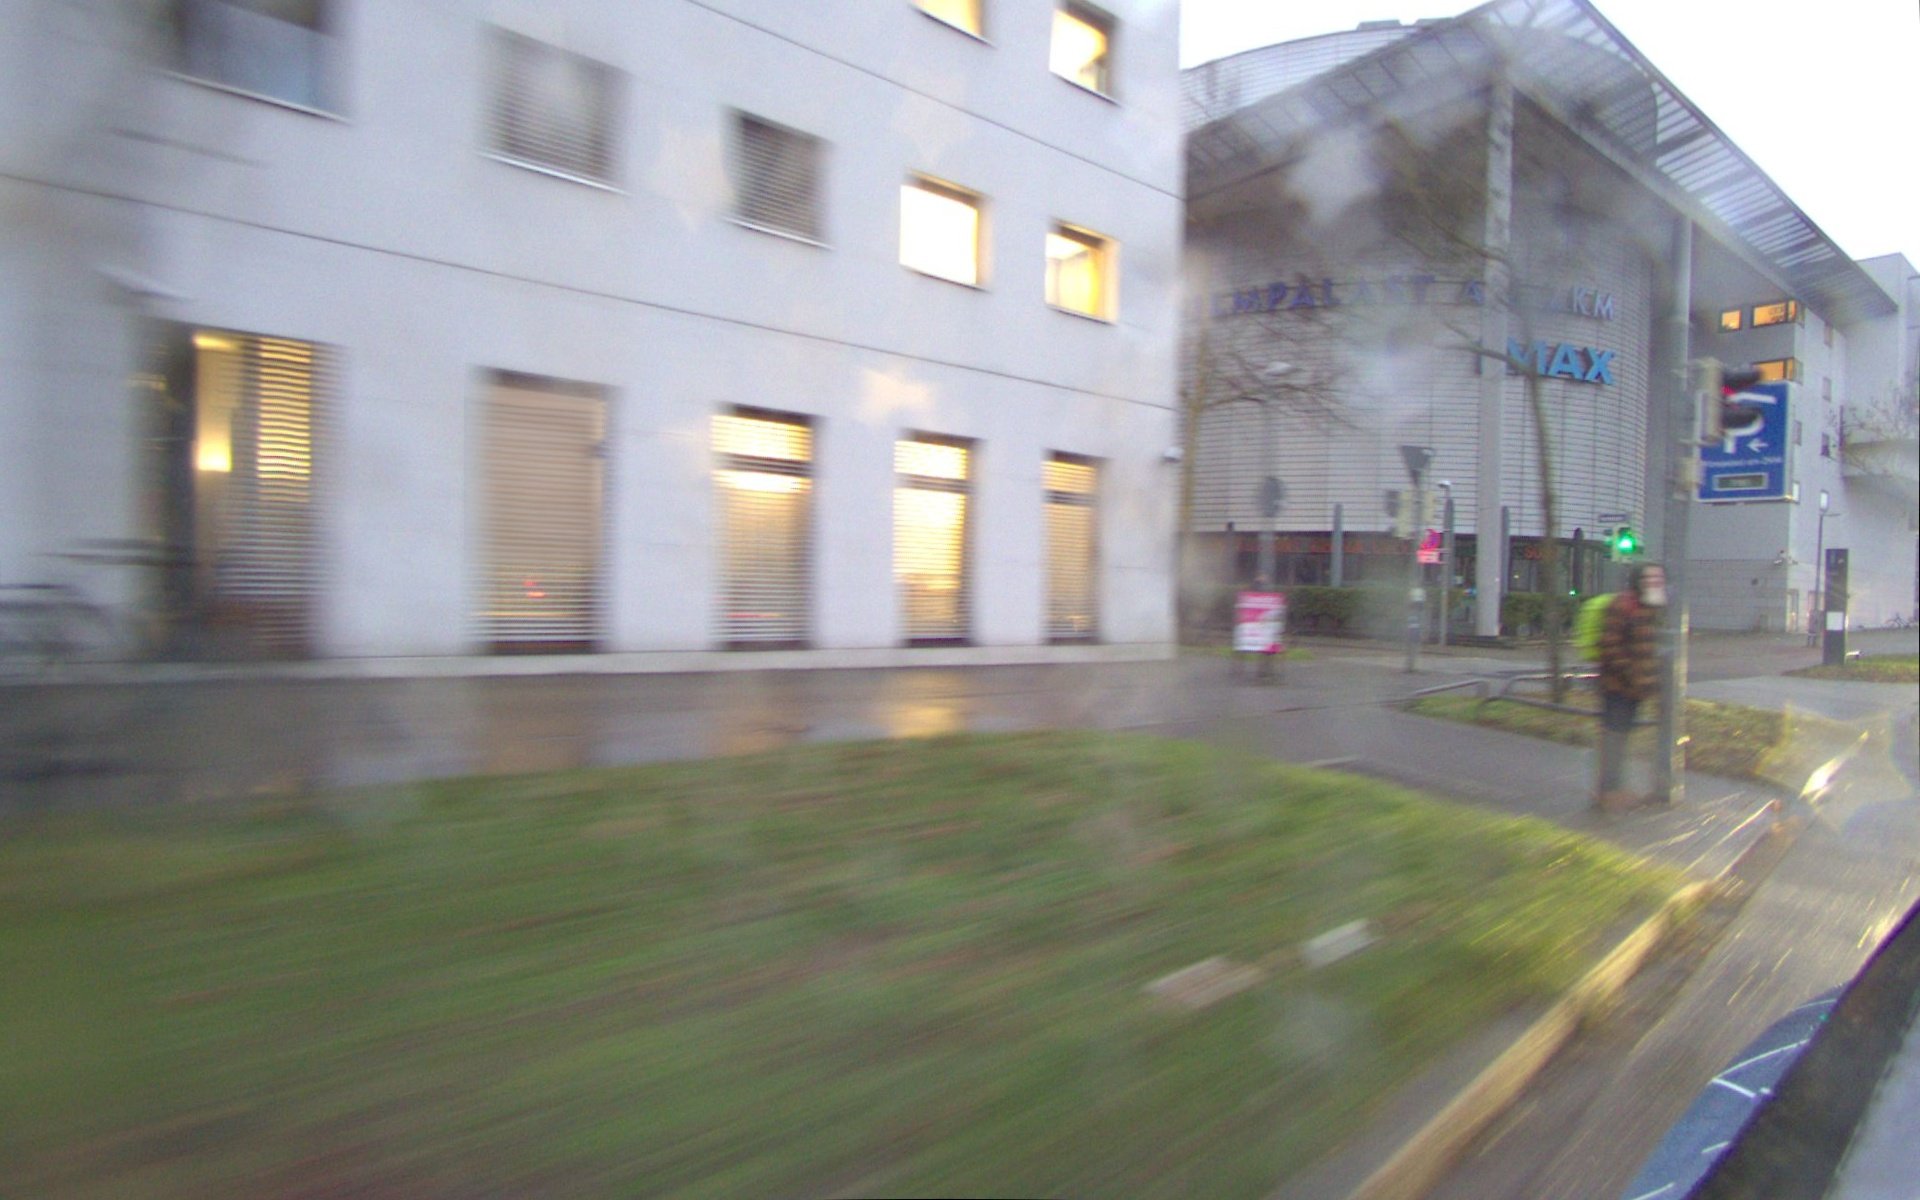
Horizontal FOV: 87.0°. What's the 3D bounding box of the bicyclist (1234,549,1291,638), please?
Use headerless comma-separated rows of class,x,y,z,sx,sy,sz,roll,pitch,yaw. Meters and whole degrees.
bicyclist,6.511,-0.139,21.807,0.822,1.846,0.733,3,-1,-16

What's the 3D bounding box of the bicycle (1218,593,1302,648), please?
bicycle,6.465,0.428,21.918,0.836,1.105,1.872,3,-1,-15

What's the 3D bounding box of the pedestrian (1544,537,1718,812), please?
pedestrian,4.852,0.486,7.334,0.687,1.830,0.772,-1,5,-41

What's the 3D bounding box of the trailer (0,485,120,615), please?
trailer,-15.594,-0.812,17.160,1.856,1.974,3.998,1,1,-37

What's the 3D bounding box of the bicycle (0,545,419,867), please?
bicycle,-3.341,0.361,3.930,2.127,1.129,0.552,-1,3,-39
